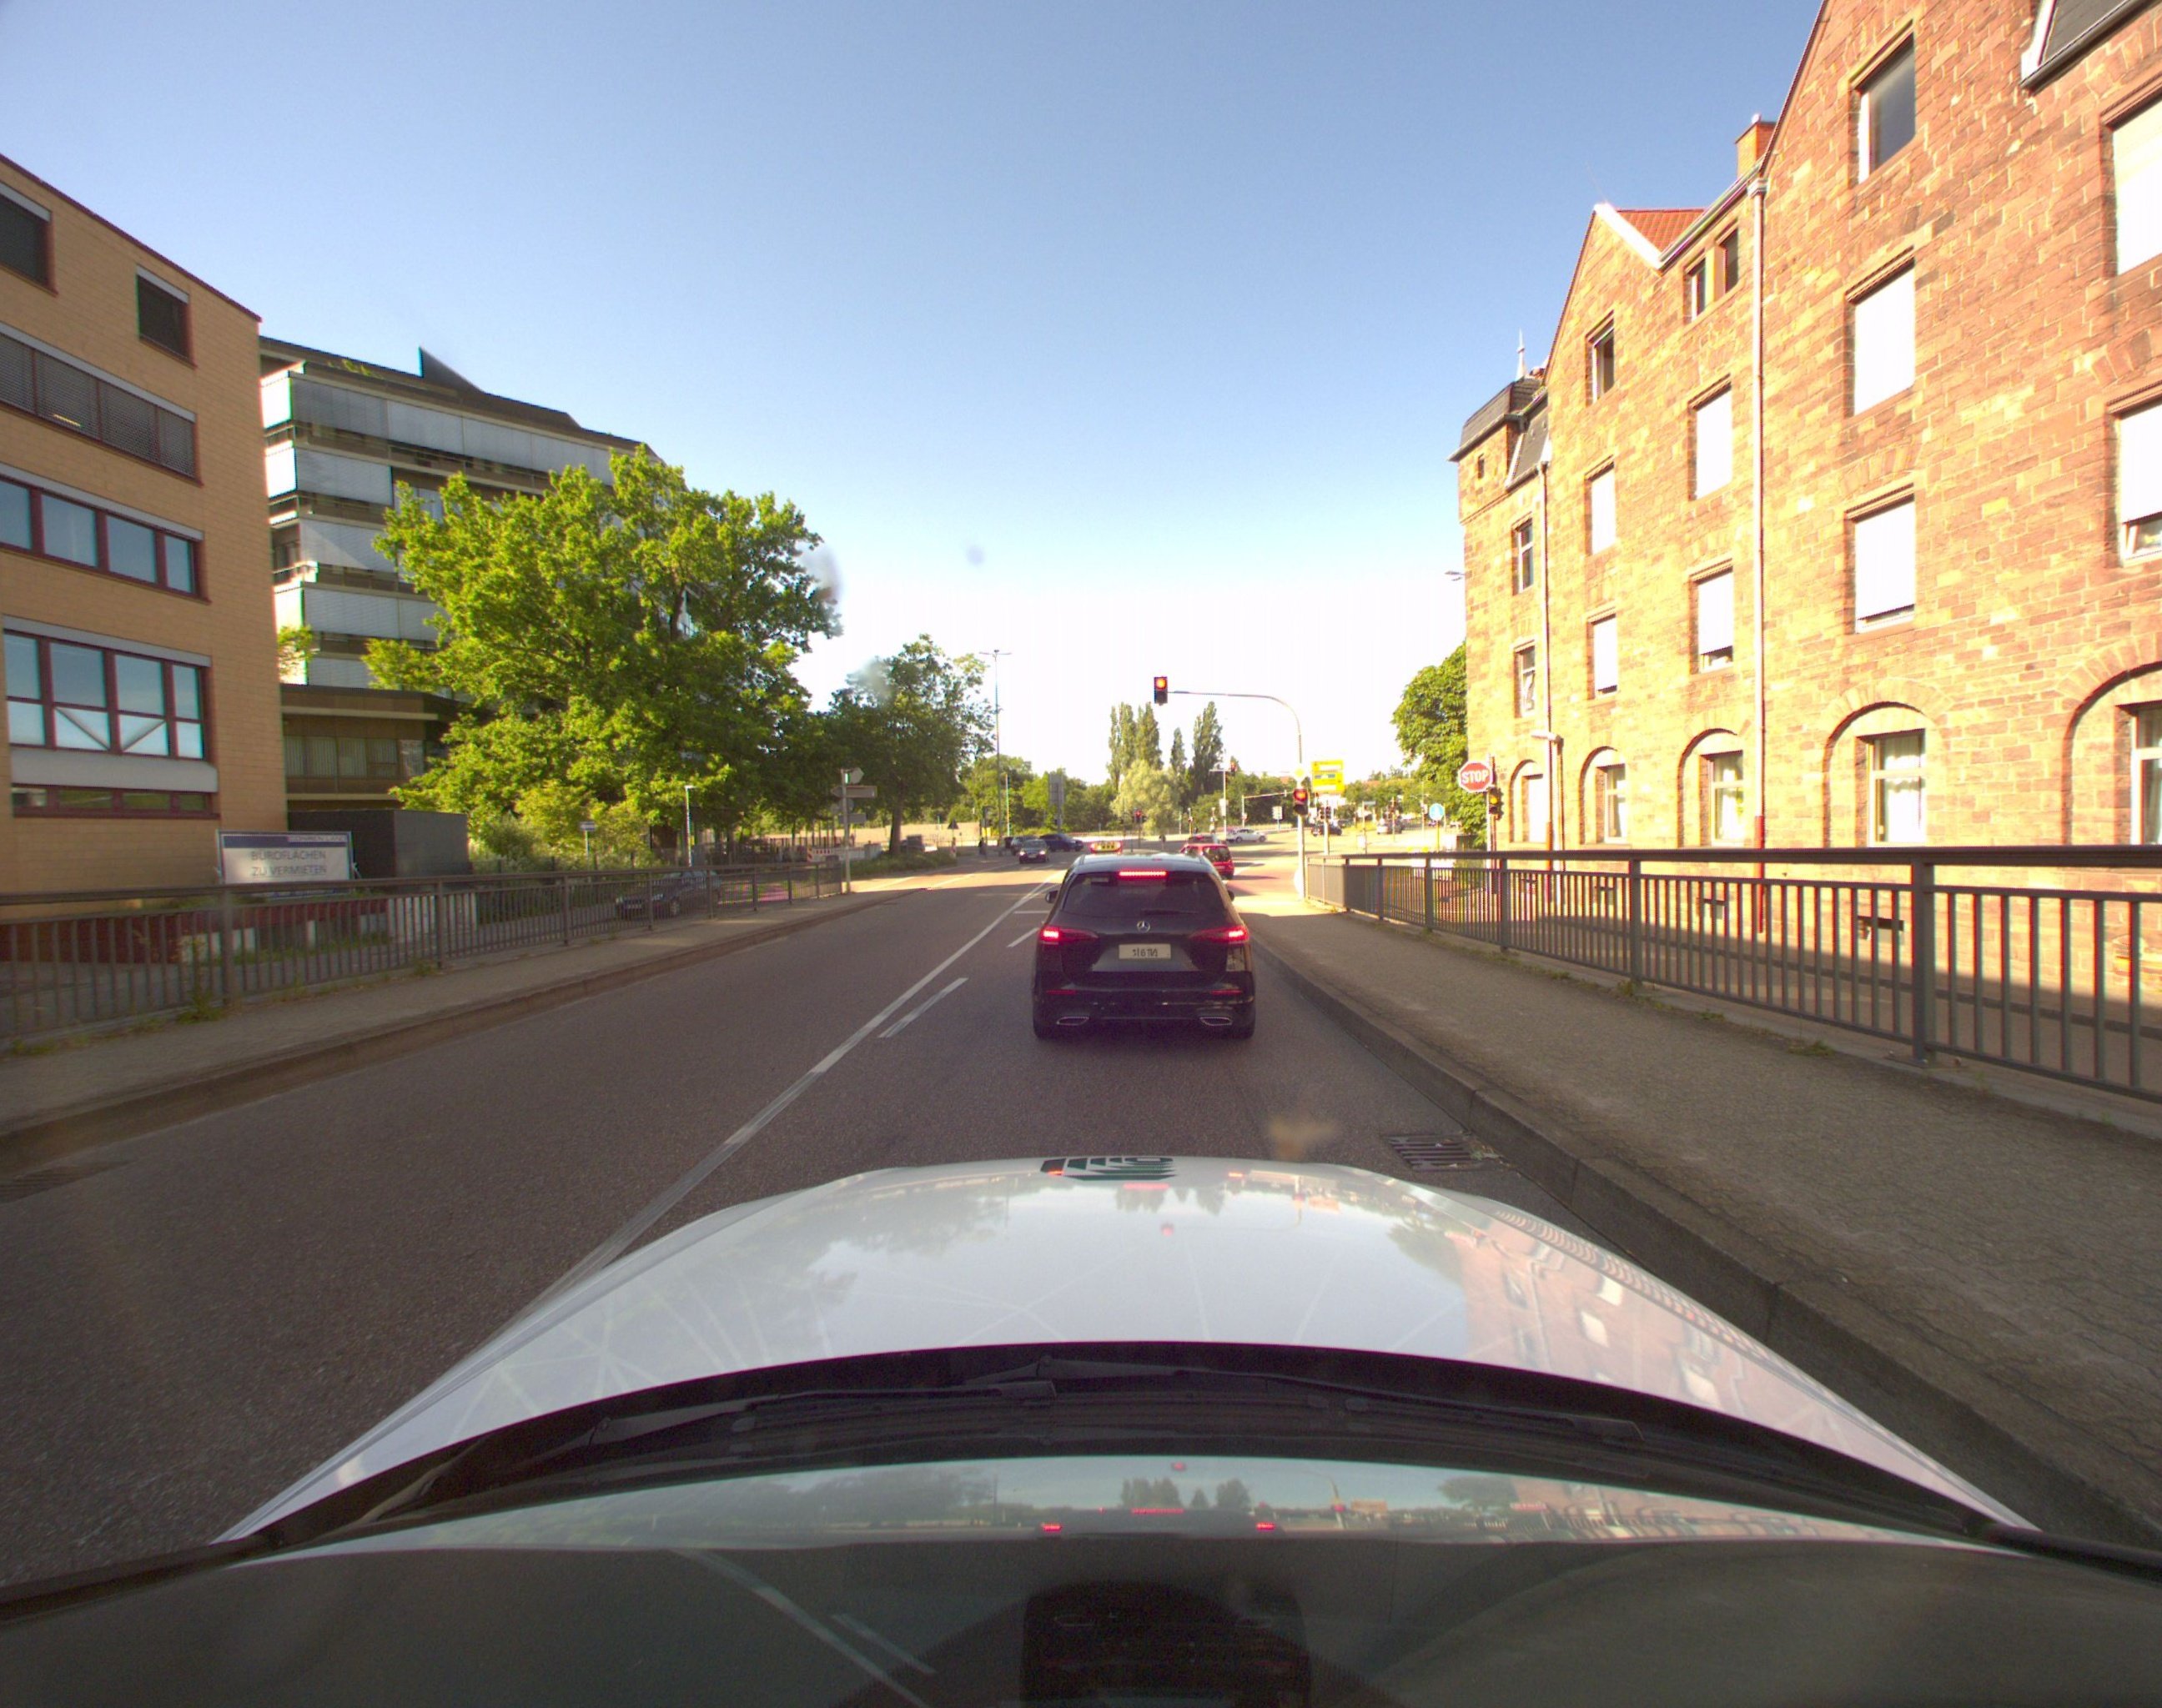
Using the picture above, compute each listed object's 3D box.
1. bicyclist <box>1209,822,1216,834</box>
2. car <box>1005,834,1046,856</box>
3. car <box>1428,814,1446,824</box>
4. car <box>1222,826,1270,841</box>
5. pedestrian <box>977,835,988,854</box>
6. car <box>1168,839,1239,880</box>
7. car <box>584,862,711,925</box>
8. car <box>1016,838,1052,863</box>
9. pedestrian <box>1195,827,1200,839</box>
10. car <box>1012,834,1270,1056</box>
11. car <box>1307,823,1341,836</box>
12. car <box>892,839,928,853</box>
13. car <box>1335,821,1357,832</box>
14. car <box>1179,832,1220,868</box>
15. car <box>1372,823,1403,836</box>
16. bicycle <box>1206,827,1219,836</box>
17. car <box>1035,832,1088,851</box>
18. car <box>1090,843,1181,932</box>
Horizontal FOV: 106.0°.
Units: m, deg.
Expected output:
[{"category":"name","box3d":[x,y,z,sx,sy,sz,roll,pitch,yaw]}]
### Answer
[{"category":"bicyclist","box3d":[17.271,-3.395,107.119,0.811,1.551,0.521,-4,1,-42]},{"category":"car","box3d":[-4.568,-0.761,66.587,1.815,1.623,3.964,-1,3,-29]},{"category":"car","box3d":[56.097,-5.554,128.255,1.764,1.357,4.105,-1,3,35]},{"category":"car","box3d":[16.665,-2.088,82.457,4.308,1.365,1.990,-3,2,-15]},{"category":"pedestrian","box3d":[-8.301,-0.788,68.392,0.700,1.525,0.746,-1,1,12]},{"category":"car","box3d":[5.121,0.191,34.508,1.725,1.521,3.469,-2,3,-15]},{"category":"car","box3d":[-13.952,1.204,26.502,1.844,1.692,4.002,-2,2,2]},{"category":"car","box3d":[-2.991,-0.249,52.592,1.734,1.407,4.205,-2,2,3]},{"category":"pedestrian","box3d":[15.472,-2.827,108.269,0.446,1.585,0.504,-2,1,42]},{"category":"car","box3d":[0.501,0.648,7.952,1.871,1.613,4.002,0,0,2]},{"category":"car","box3d":[28.481,-2.913,95.436,1.863,1.294,4.623,-1,3,44]},{"category":"car","box3d":[-18.913,-0.887,89.817,3.948,1.498,1.756,-2,0,38]},{"category":"car","box3d":[38.768,-4.014,119.181,1.860,1.578,4.026,-1,2,38]},{"category":"car","box3d":[6.418,-0.263,44.523,1.715,1.811,4.301,2,2,2]},{"category":"car","box3d":[36.190,-2.918,96.119,1.974,1.294,4.625,-1,3,39]},{"category":"bicycle","box3d":[17.283,-2.945,107.139,2.001,1.050,0.521,-4,1,-42]},{"category":"car","box3d":[-1.750,-1.113,71.888,4.346,1.592,1.935,0,3,33]},{"category":"car","box3d":[1.136,0.605,16.830,1.632,1.529,3.478,-3,1,4]}]
